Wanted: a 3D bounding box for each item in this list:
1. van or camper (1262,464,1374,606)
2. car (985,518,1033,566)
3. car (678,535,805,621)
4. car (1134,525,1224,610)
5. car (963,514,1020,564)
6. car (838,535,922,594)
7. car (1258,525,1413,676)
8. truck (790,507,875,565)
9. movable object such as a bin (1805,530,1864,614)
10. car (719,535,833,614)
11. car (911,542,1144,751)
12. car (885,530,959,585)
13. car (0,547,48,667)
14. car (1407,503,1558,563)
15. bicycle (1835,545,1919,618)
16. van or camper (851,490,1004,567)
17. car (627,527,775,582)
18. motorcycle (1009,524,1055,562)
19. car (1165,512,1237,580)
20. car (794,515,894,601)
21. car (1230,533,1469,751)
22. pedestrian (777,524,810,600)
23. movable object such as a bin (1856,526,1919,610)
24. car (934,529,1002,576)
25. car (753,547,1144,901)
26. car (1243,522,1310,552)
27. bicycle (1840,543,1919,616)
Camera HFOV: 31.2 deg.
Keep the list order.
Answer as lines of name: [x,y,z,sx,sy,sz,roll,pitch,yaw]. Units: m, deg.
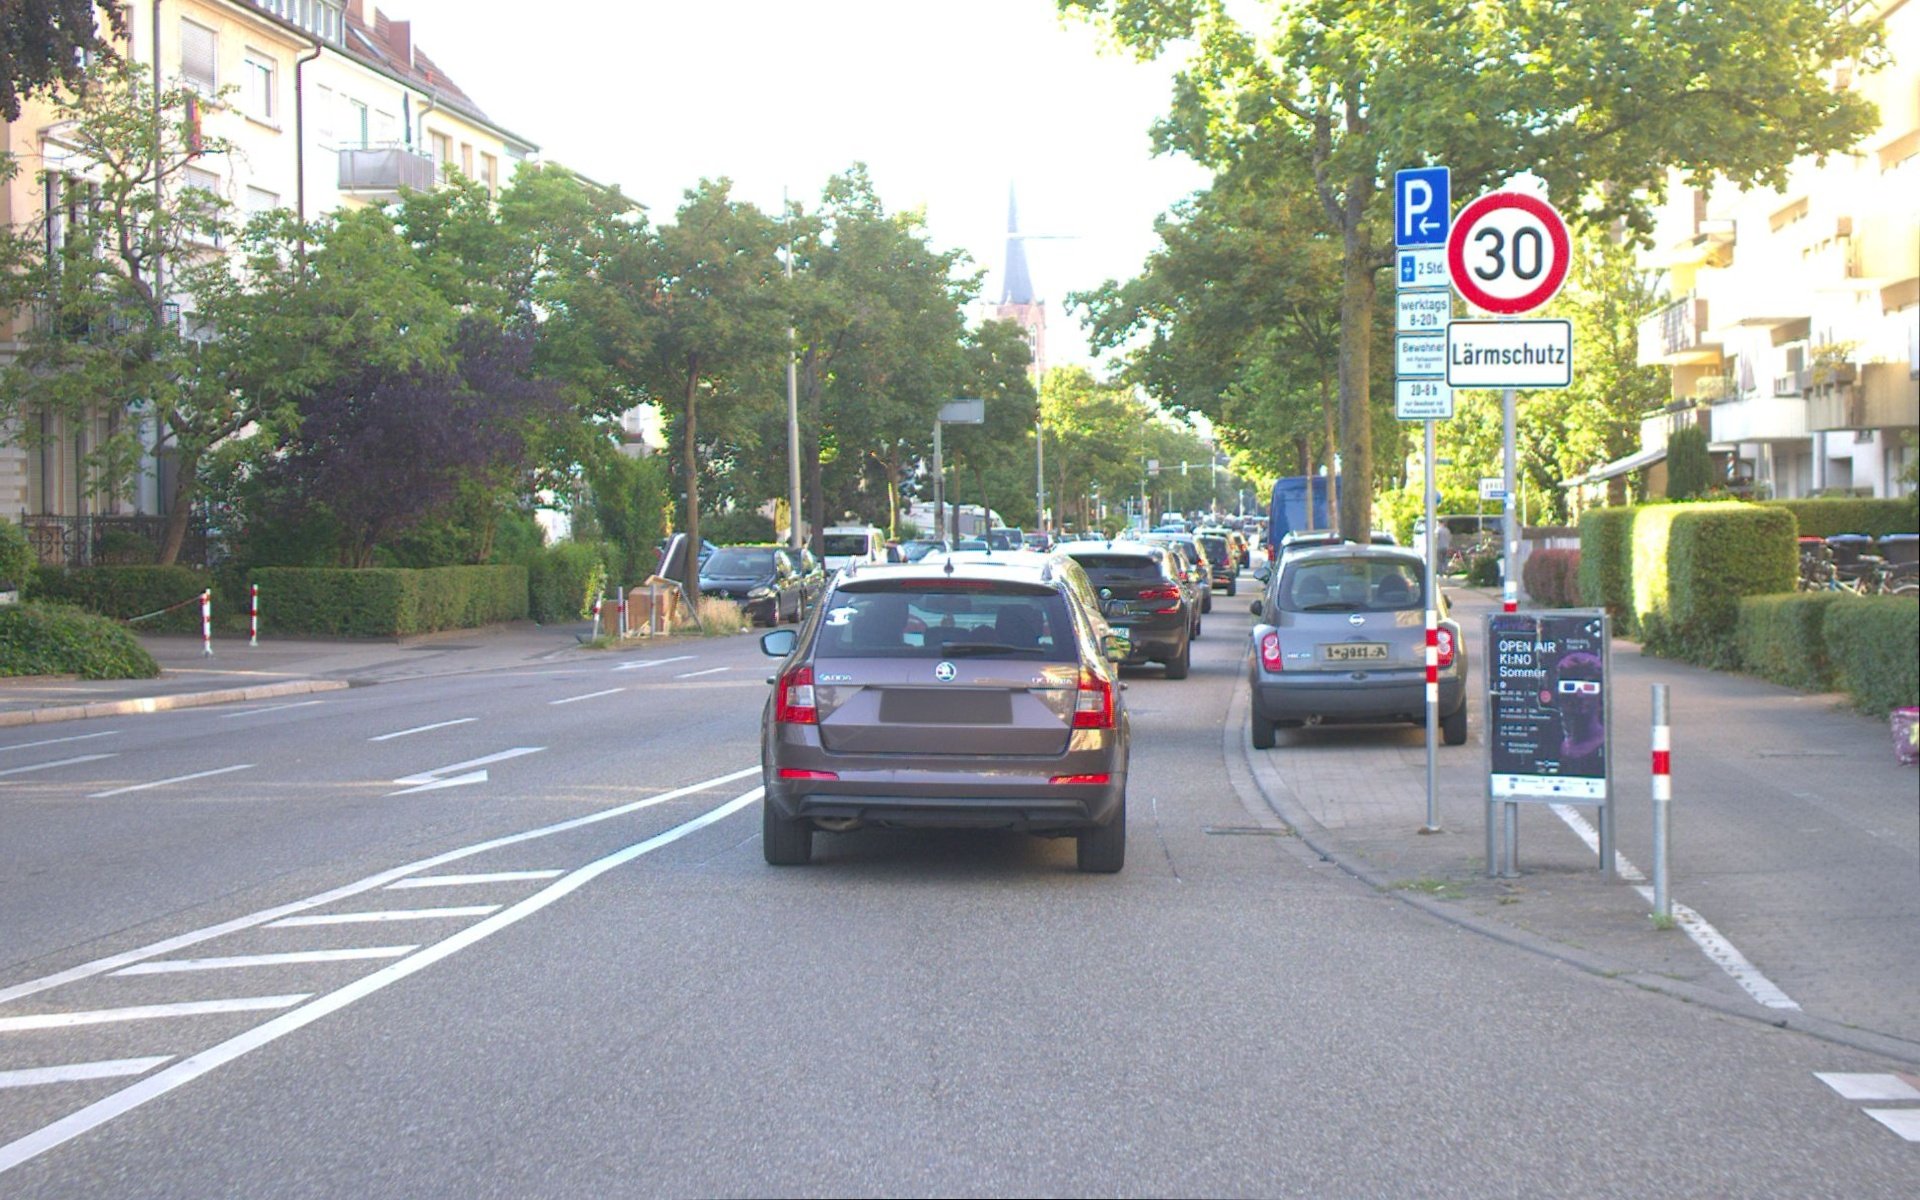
van or camper: [7.033,-1.272,67.803,2.068,2.666,5.989,-1,1,5]
car: [1.853,-2.183,128.845,1.507,1.751,3.693,-1,2,5]
car: [-4.098,-0.446,65.105,1.750,1.497,4.196,0,2,5]
car: [4.499,-0.679,70.249,1.733,1.645,3.541,0,2,5]
car: [1.157,-2.223,124.222,1.750,1.734,3.590,0,2,5]
car: [-2.026,-0.916,87.931,1.717,1.416,3.786,0,2,5]
car: [4.433,-0.041,40.934,1.733,1.645,4.291,0,2,5]
truck: [-4.663,-2.360,126.252,2.914,2.086,1.546,-1,2,5]
movable object such as a bin: [10.694,-0.344,42.059,0.582,0.999,0.796,-1,2,5]
car: [-3.724,-0.545,70.103,1.750,1.497,3.978,0,2,5]
car: [0.557,0.316,27.706,1.729,1.488,3.951,-1,2,2]
car: [-1.078,-1.239,99.719,1.717,1.492,4.247,0,2,5]
car: [-13.723,0.096,44.153,3.497,1.481,1.816,-1,2,2]
car: [17.101,-2.196,112.615,4.532,1.886,1.915,-1,2,-22]
bicycle: [11.224,-0.222,41.234,1.359,0.851,0.365,0,2,6]
van or camper: [-1.657,-3.664,175.922,7.641,3.861,2.000,-1,2,4]
car: [-7.314,-1.297,97.311,3.987,1.474,2.000,0,2,2]
motorcycle: [2.899,-2.298,139.082,0.764,1.506,2.030,-2,2,-37]
car: [6.140,-1.383,87.368,1.733,1.645,3.541,0,2,5]
car: [-2.677,-1.009,80.369,1.770,1.912,4.459,0,2,5]
car: [3.024,0.275,27.079,1.733,1.545,3.645,0,2,5]
pedestrian: [-4.499,-1.035,92.978,0.767,2.006,0.976,-1,2,5]
movable object such as a bin: [11.407,-0.400,41.974,0.776,0.999,0.796,-1,2,5]
car: [0.269,-1.554,111.076,1.754,1.415,4.425,0,2,6]
car: [-0.156,0.522,17.299,1.729,1.488,3.951,-1,2,-3]
car: [19.652,-3.927,213.400,4.167,1.751,1.882,-2,2,-44]
bicycle: [11.172,-0.247,40.780,1.370,0.851,0.368,0,2,7]
